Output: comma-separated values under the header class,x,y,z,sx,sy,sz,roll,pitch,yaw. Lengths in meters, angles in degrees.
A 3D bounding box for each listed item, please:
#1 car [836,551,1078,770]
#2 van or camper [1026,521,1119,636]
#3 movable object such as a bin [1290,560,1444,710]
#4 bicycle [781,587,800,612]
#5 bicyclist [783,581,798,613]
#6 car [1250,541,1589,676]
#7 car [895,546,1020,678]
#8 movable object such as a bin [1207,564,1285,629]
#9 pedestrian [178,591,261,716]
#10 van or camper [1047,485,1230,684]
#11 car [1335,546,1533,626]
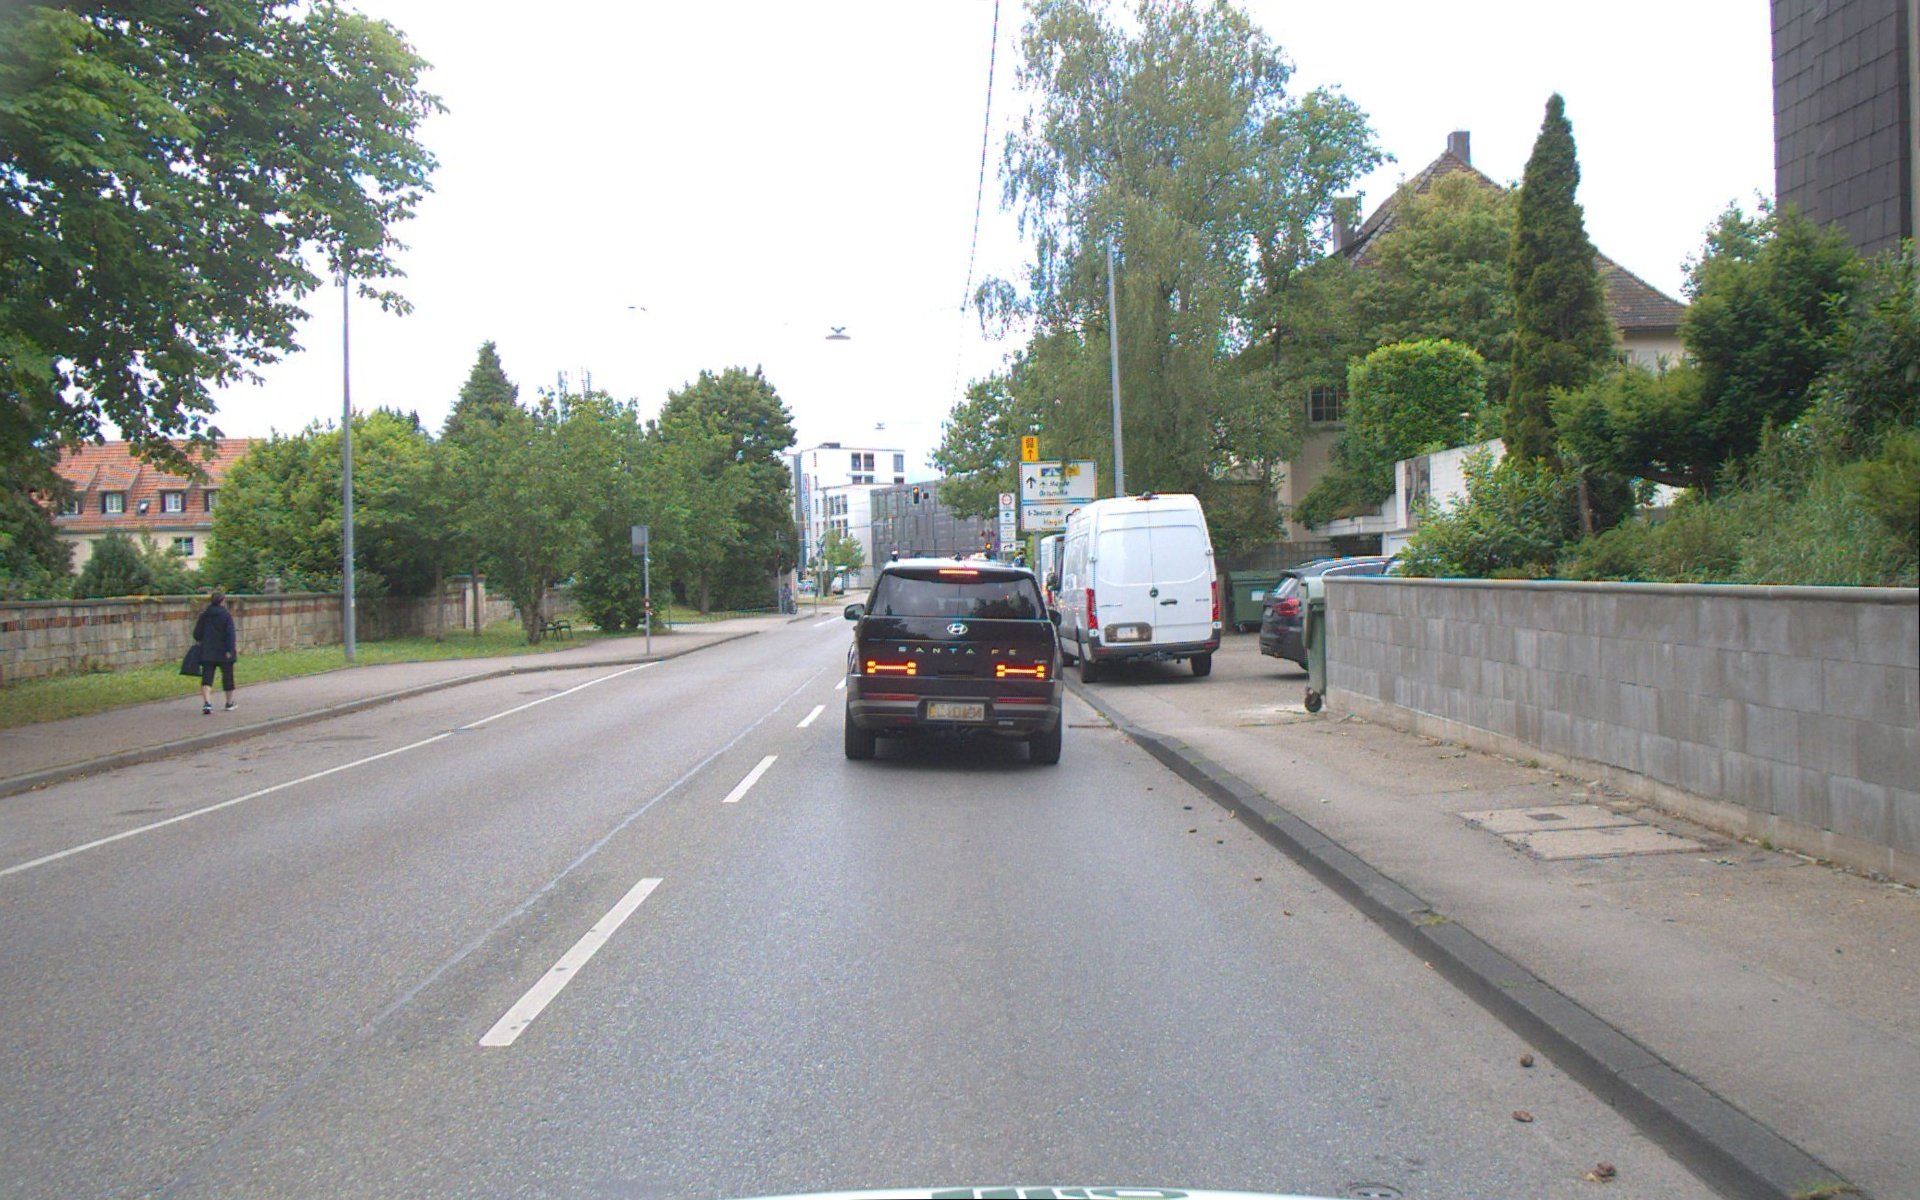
class,x,y,z,sx,sy,sz,roll,pitch,yaw
car,-0.052,0.460,15.215,1.924,1.741,3.999,0,1,-1
van or camper,2.997,-0.589,45.186,1.924,2.845,5.285,-3,1,-1
movable object such as a bin,4.279,0.353,17.514,1.273,1.476,1.180,-3,0,-1
bicycle,-9.050,-0.031,88.109,0.664,1.302,2.491,0,-1,-14
bicyclist,-9.047,-0.179,88.141,0.664,1.688,0.855,0,-1,-15
car,6.482,0.104,23.669,4.304,1.681,1.830,-2,1,0
car,-0.088,0.163,27.615,1.924,2.036,3.999,0,1,-2
movable object such as a bin,6.803,-0.094,39.452,1.422,1.499,1.715,0,1,-6
pedestrian,-9.811,0.686,21.933,0.734,1.605,0.965,0,0,-6
van or camper,2.677,-0.253,26.355,1.924,2.673,6.357,-4,1,-1
car,10.715,-0.324,37.593,3.907,1.741,1.969,0,0,-3
